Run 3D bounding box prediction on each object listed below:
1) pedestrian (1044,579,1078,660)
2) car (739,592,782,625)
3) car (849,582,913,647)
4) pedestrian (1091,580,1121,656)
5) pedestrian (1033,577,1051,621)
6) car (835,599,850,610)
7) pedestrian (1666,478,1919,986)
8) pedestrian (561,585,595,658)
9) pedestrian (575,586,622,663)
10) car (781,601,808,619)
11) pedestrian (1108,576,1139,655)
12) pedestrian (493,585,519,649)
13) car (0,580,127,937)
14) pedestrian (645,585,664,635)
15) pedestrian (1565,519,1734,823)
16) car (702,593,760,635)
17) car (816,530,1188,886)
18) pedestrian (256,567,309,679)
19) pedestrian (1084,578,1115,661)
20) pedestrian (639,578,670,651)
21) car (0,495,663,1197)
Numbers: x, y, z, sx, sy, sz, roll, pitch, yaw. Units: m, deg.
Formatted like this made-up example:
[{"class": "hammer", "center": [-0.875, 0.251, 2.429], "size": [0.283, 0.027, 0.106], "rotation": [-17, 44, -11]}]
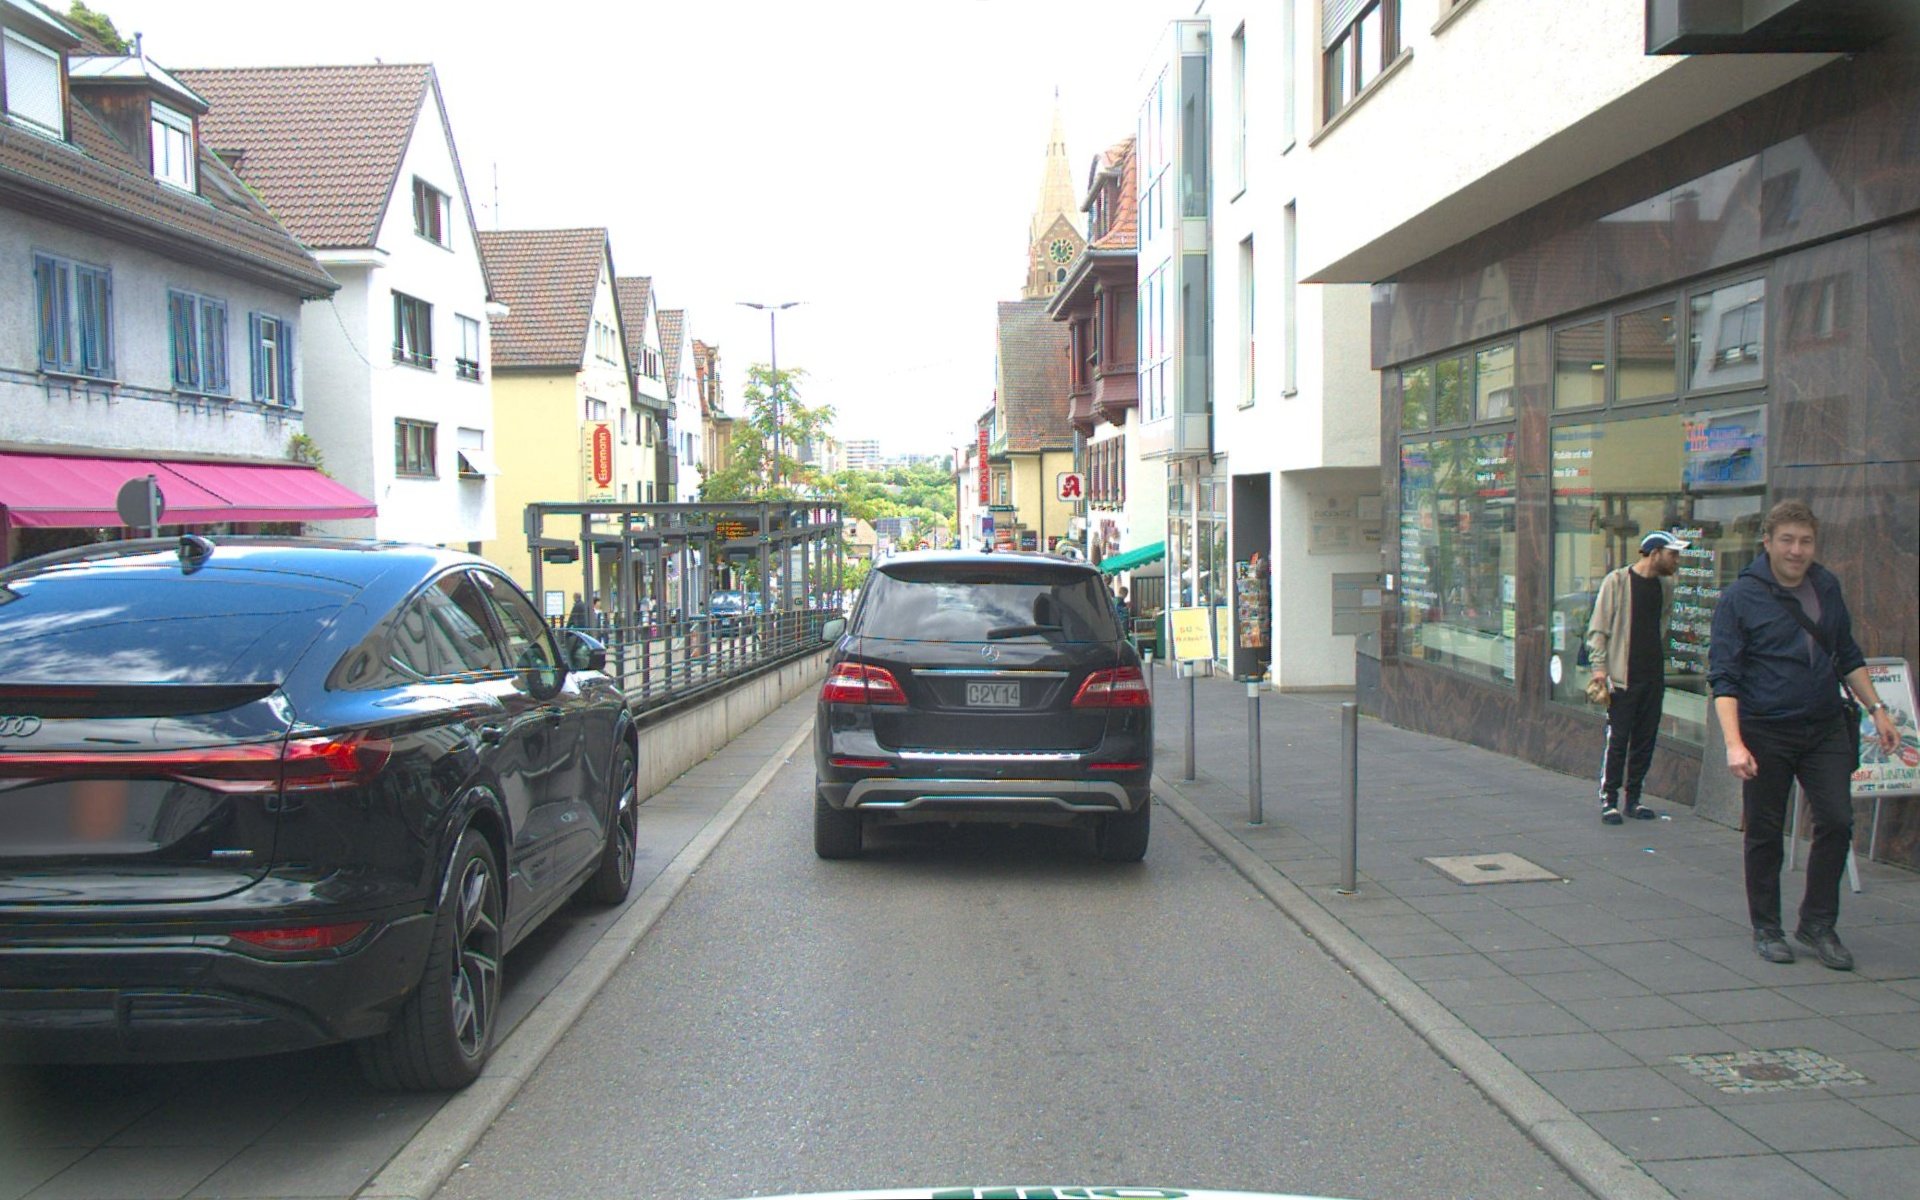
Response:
[{"class": "pedestrian", "center": [2.176, 0.422, 35.709], "size": [0.609, 1.718, 0.565], "rotation": [1, 0, -8]}, {"class": "car", "center": [-9.494, 0.406, 78.975], "size": [1.627, 1.516, 3.747], "rotation": [1, 0, -1]}, {"class": "car", "center": [-2.217, 0.387, 47.298], "size": [1.734, 1.743, 3.999], "rotation": [1, 0, -2]}, {"class": "pedestrian", "center": [3.341, 0.412, 37.796], "size": [0.562, 1.718, 0.565], "rotation": [0, 0, -8]}, {"class": "pedestrian", "center": [3.217, -0.048, 64.965], "size": [0.594, 1.718, 0.724], "rotation": [-1, 0, -2]}, {"class": "car", "center": [-12.418, 0.490, 175.267], "size": [1.360, 1.089, 3.112], "rotation": [-1, 0, -1]}, {"class": "pedestrian", "center": [3.237, 0.462, 6.287], "size": [0.697, 1.784, 0.787], "rotation": [-2, 0, -2]}, {"class": "pedestrian", "center": [-9.081, 0.503, 39.283], "size": [0.606, 1.718, 0.556], "rotation": [1, 0, -34]}, {"class": "pedestrian", "center": [-8.224, 0.551, 37.613], "size": [0.710, 1.718, 0.768], "rotation": [1, 0, 20]}, {"class": "car", "center": [-10.173, 0.600, 101.700], "size": [1.360, 1.089, 3.112], "rotation": [-1, 0, -1]}, {"class": "pedestrian", "center": [3.640, 0.340, 36.824], "size": [0.562, 1.718, 0.565], "rotation": [0, 0, -8]}, {"class": "pedestrian", "center": [-10.396, 0.394, 37.883], "size": [0.447, 1.446, 0.533], "rotation": [1, 0, -2]}, {"class": "car", "center": [-4.860, 0.680, 6.126], "size": [1.704, 1.501, 3.882], "rotation": [0, 0, -3]}, {"class": "pedestrian", "center": [-10.525, 0.350, 56.992], "size": [0.502, 1.718, 0.541], "rotation": [1, 0, -2]}, {"class": "pedestrian", "center": [4.104, 0.408, 9.869], "size": [0.650, 1.718, 0.542], "rotation": [-4, 1, -8]}, {"class": "car", "center": [-8.541, 0.504, 61.929], "size": [1.655, 1.516, 3.978], "rotation": [1, 0, -1]}, {"class": "car", "center": [0.115, 0.547, 10.377], "size": [1.863, 1.777, 3.998], "rotation": [1, 0, -3]}, {"class": "pedestrian", "center": [-10.588, 0.357, 25.856], "size": [0.566, 1.718, 0.576], "rotation": [1, 0, -2]}, {"class": "pedestrian", "center": [2.987, 0.417, 35.525], "size": [0.532, 1.756, 0.527], "rotation": [-1, 0, -8]}, {"class": "pedestrian", "center": [-7.336, 0.343, 39.760], "size": [0.613, 1.718, 0.678], "rotation": [1, 0, -2]}, {"class": "car", "center": [-2.368, 0.576, 6.082], "size": [1.917, 1.668, 4.312], "rotation": [1, 0, -3]}]
